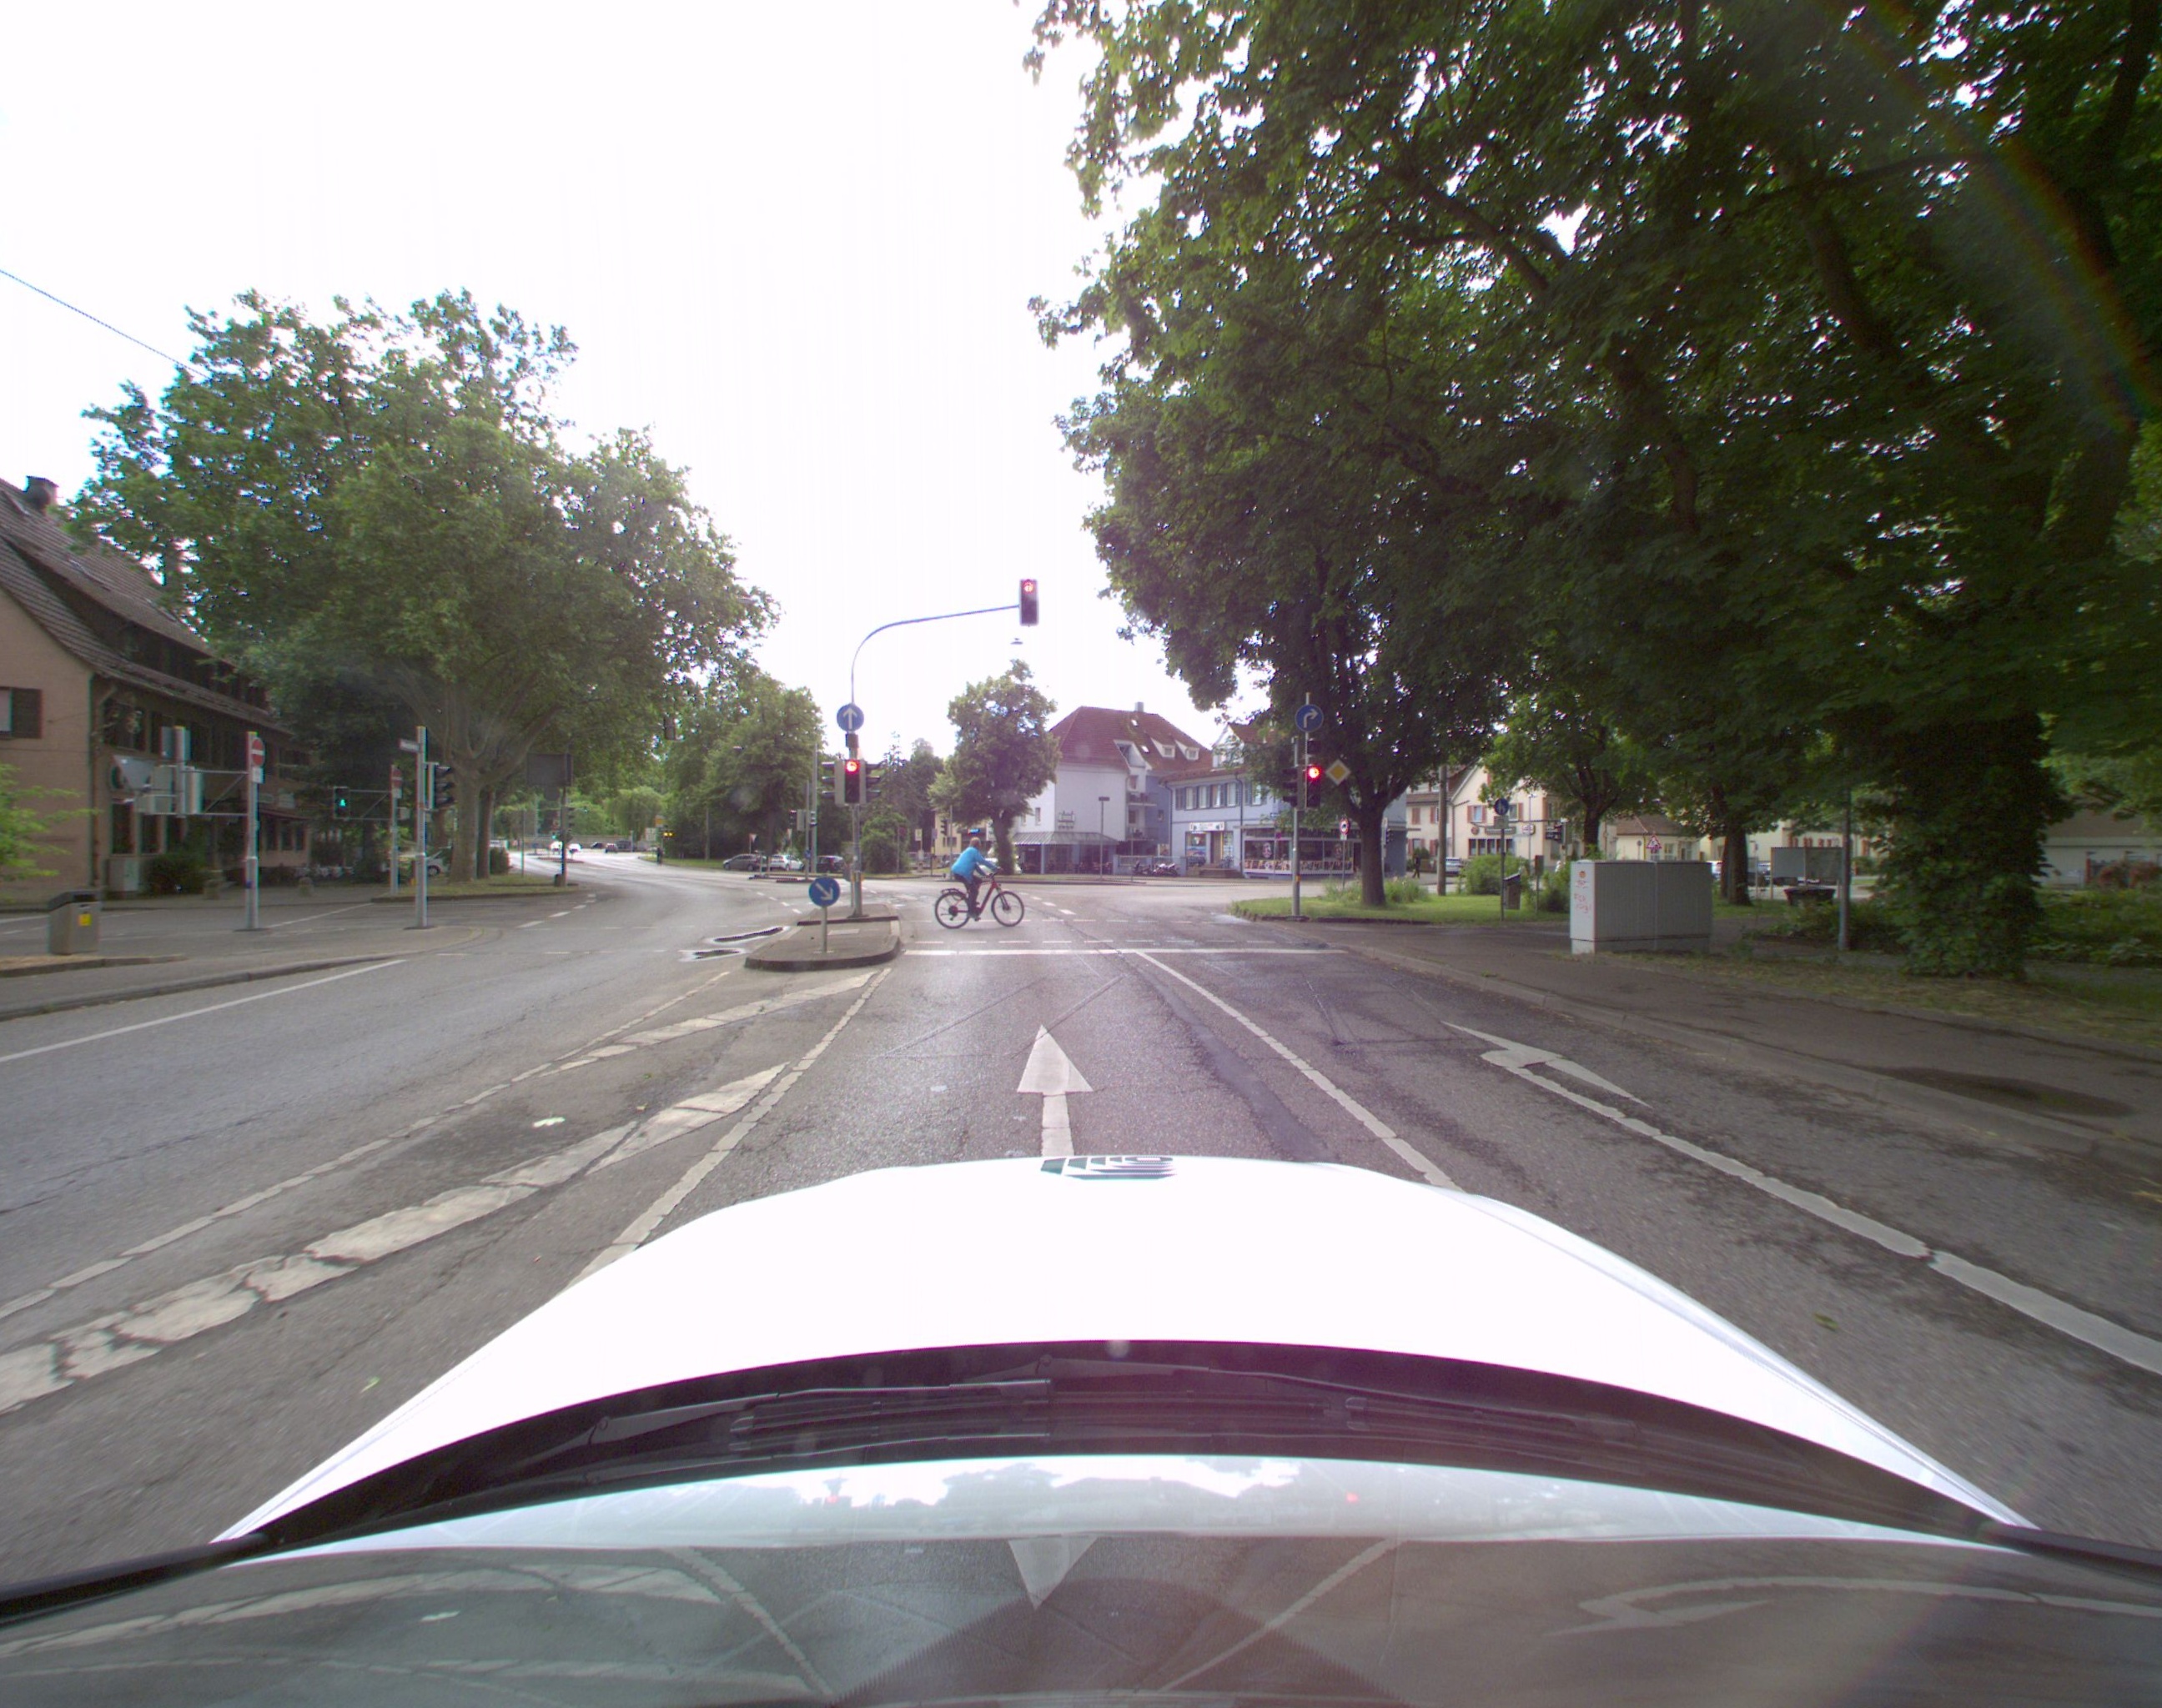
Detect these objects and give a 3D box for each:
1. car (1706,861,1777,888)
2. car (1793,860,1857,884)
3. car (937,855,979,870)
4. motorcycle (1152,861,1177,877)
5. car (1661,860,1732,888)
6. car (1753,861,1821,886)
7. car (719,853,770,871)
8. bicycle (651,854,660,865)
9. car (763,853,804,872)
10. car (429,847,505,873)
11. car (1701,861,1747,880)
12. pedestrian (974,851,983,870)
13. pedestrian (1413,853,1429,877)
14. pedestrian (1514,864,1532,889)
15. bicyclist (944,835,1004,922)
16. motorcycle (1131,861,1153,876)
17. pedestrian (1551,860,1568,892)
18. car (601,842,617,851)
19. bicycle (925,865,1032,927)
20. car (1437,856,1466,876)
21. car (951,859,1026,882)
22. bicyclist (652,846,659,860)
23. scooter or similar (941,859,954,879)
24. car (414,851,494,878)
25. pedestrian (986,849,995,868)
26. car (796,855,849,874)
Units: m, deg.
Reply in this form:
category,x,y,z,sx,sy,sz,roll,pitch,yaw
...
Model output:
category,x,y,z,sx,sy,sz,roll,pitch,yaw
car,38.633,1.172,47.616,3.737,1.457,1.638,0,0,-22
car,48.455,1.144,53.023,3.737,1.457,1.638,0,0,-22
car,-12.431,0.815,82.222,3.954,1.442,1.739,0,0,-23
motorcycle,5.762,1.043,56.140,1.609,1.088,0.631,0,0,28
car,34.216,1.104,45.271,3.476,1.457,1.638,0,0,-22
car,43.198,1.156,49.800,3.737,1.457,1.638,0,0,-22
car,-28.634,0.659,69.315,3.746,1.465,1.627,0,0,15
bicycle,-40.095,0.526,76.704,0.560,0.958,2.012,0,0,-34
car,-26.446,0.704,72.413,1.850,1.640,3.763,0,0,8
car,-41.274,0.374,54.788,4.020,1.684,1.977,0,0,-39
car,51.854,1.298,65.673,3.876,1.447,1.751,0,-1,-33
pedestrian,-11.027,0.719,87.613,0.839,2.013,1.050,0,0,-18
pedestrian,22.865,0.722,54.721,0.672,1.560,0.742,0,-1,-18
pedestrian,19.423,0.983,35.793,0.506,1.081,0.513,0,-1,-18
bicyclist,-2.114,0.473,16.074,0.989,1.651,0.911,0,0,-22
motorcycle,4.310,1.023,57.814,1.441,1.088,0.527,-1,0,32
pedestrian,24.033,1.090,40.886,0.687,1.560,0.670,-1,-1,28
car,-79.808,-1.252,137.606,2.008,1.596,3.957,0,-1,-35
bicycle,-2.027,0.801,16.107,1.954,1.149,0.870,0,0,-22
car,27.526,0.861,60.504,1.867,1.391,3.635,0,0,26
car,-6.023,1.017,52.747,4.654,1.410,1.914,0,0,32
bicyclist,-40.047,-0.119,76.623,0.544,1.342,0.706,0,0,-35
scooter or similar,-8.098,0.885,49.463,0.440,1.175,1.440,0,0,6
car,-40.215,0.663,52.310,4.020,1.684,1.977,0,0,-39
pedestrian,-7.334,0.346,66.034,0.539,1.560,0.469,-1,-1,10
car,-18.949,0.742,59.657,3.287,1.352,1.790,0,0,24
